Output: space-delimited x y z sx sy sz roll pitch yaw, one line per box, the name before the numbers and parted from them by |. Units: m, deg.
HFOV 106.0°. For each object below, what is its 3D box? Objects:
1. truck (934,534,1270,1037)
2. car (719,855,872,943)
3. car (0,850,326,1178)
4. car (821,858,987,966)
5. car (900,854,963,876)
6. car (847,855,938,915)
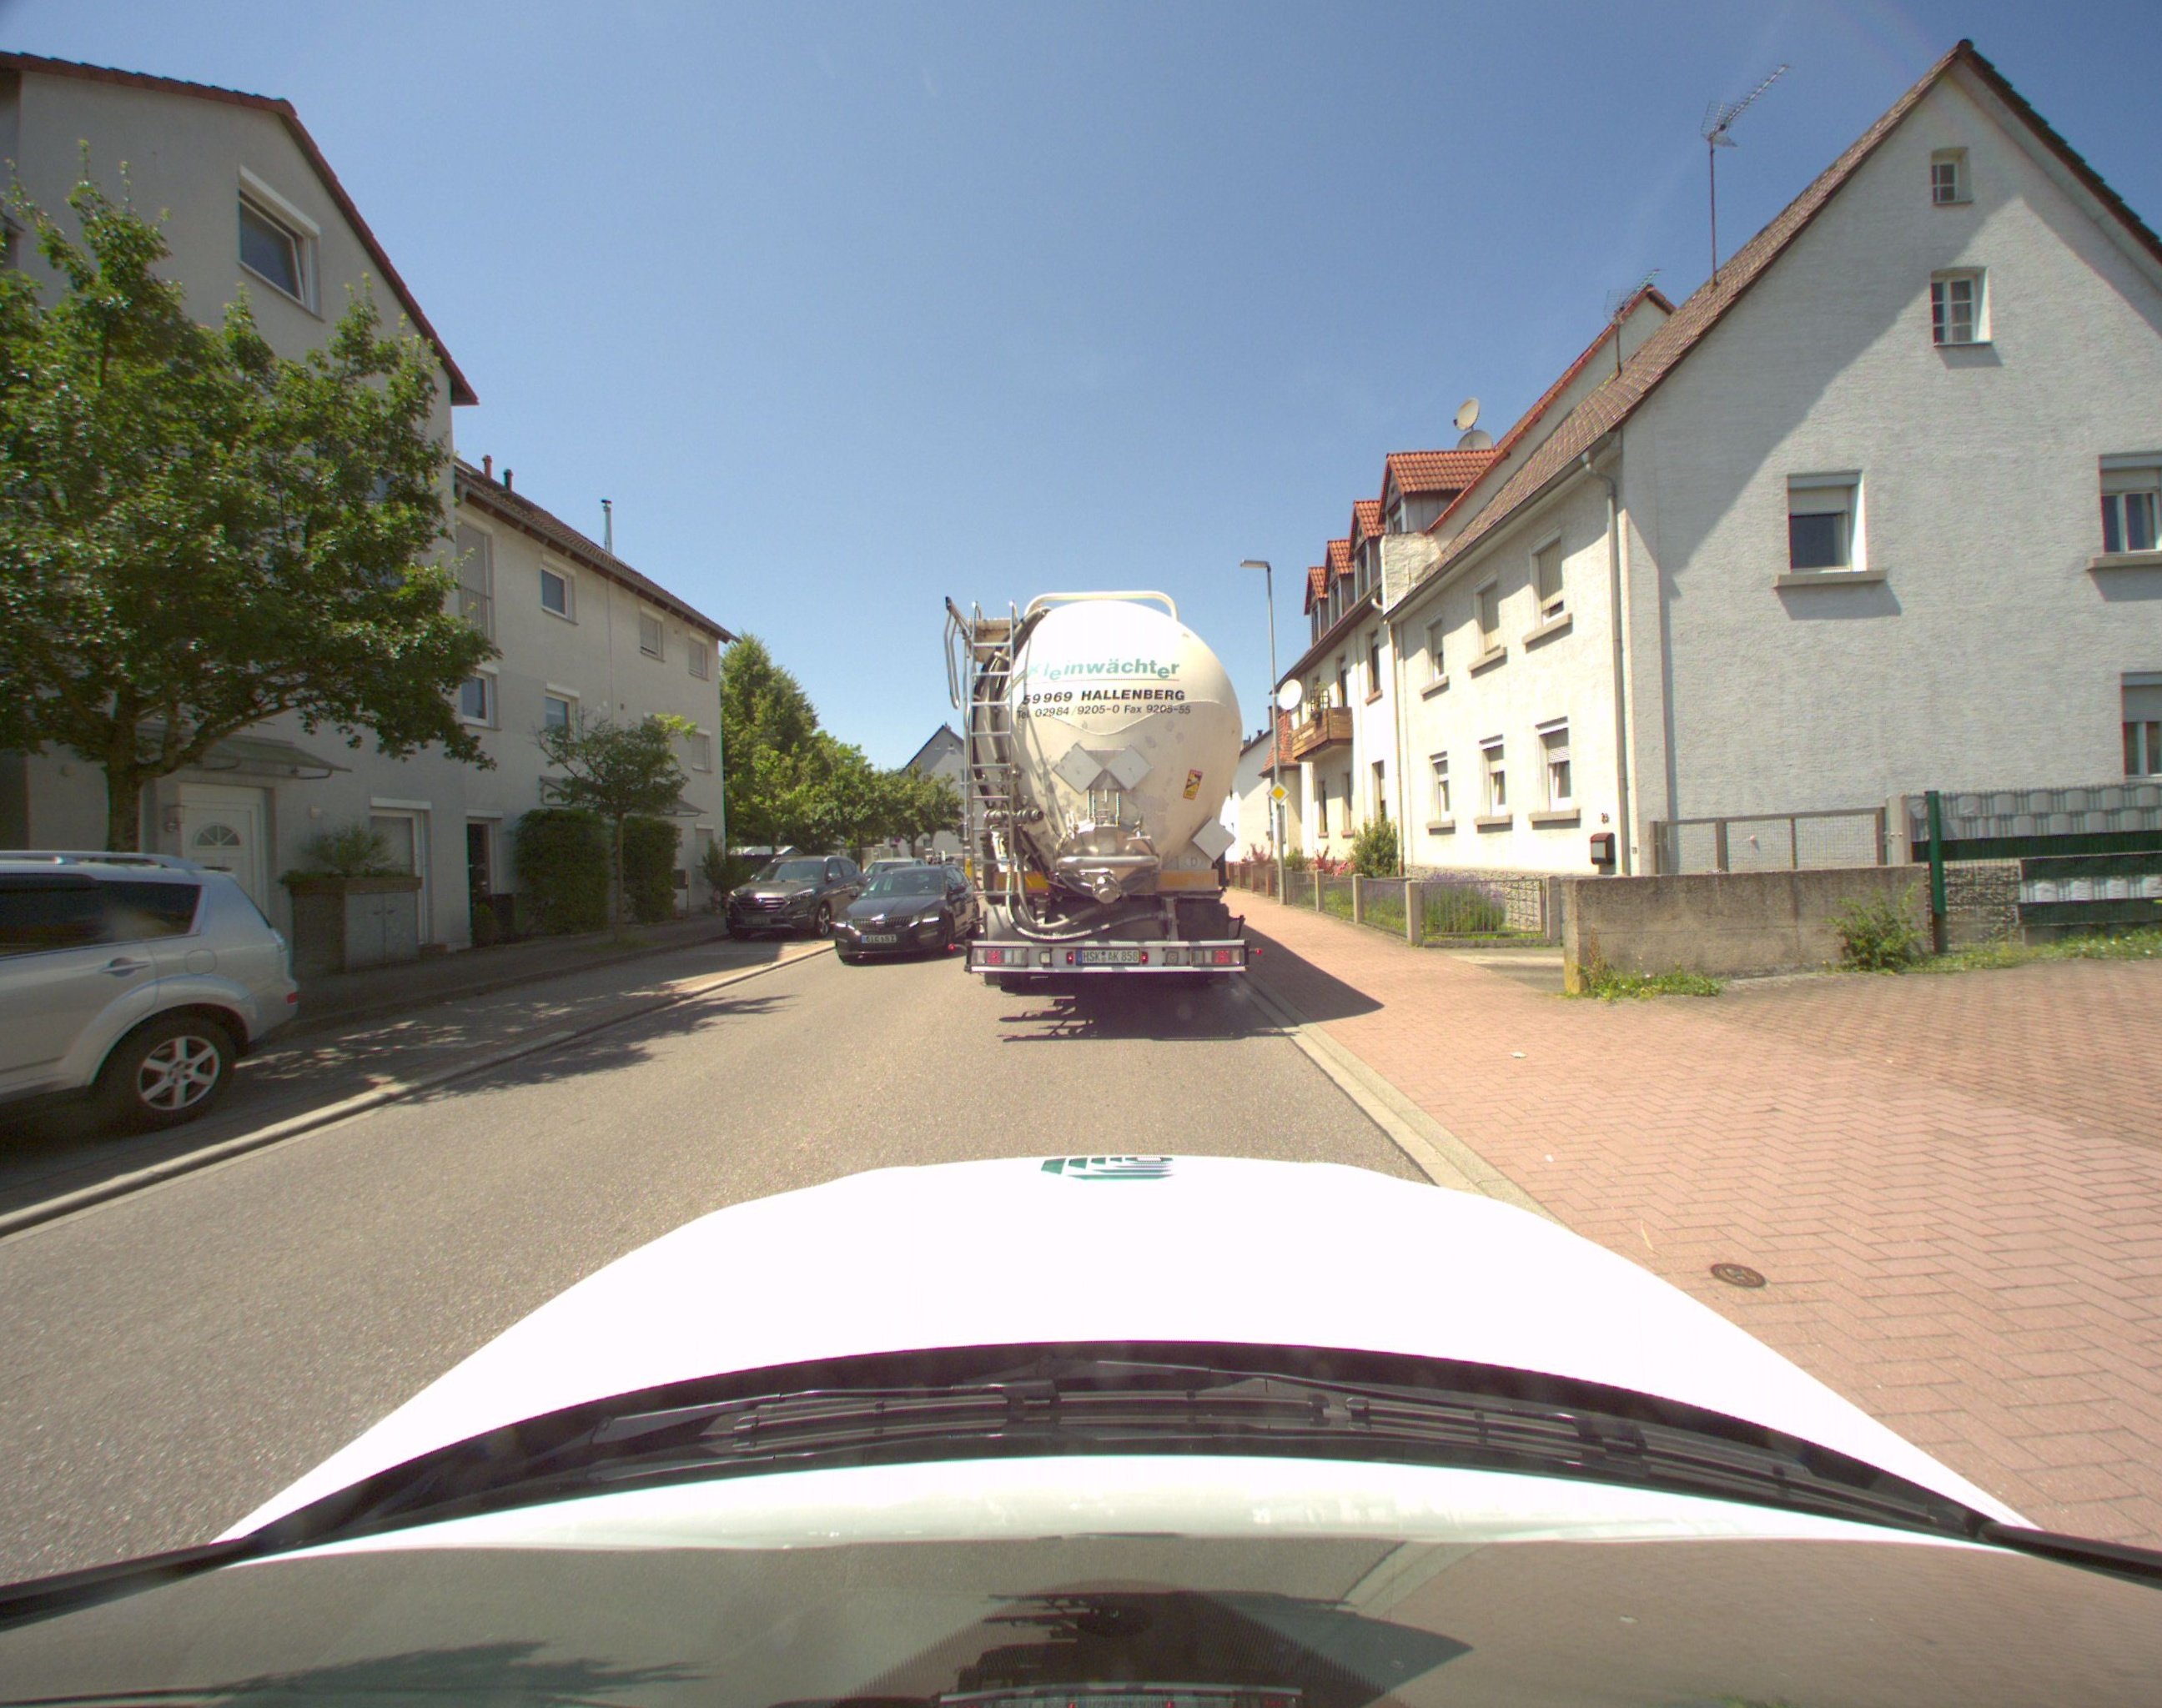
truck | 0.335 -0.557 11.371 2.631 4.015 9.566 -1 0 2
car | -5.924 0.855 17.424 1.685 1.620 3.999 -1 0 2
car | -6.419 0.837 3.690 1.700 1.686 4.526 -1 0 1
car | -2.856 0.871 14.124 1.712 1.446 4.257 -4 0 2
car | -11.962 0.876 65.267 4.597 1.651 1.745 -2 0 9
car | -5.477 0.849 24.144 1.691 1.581 3.838 -1 0 1
